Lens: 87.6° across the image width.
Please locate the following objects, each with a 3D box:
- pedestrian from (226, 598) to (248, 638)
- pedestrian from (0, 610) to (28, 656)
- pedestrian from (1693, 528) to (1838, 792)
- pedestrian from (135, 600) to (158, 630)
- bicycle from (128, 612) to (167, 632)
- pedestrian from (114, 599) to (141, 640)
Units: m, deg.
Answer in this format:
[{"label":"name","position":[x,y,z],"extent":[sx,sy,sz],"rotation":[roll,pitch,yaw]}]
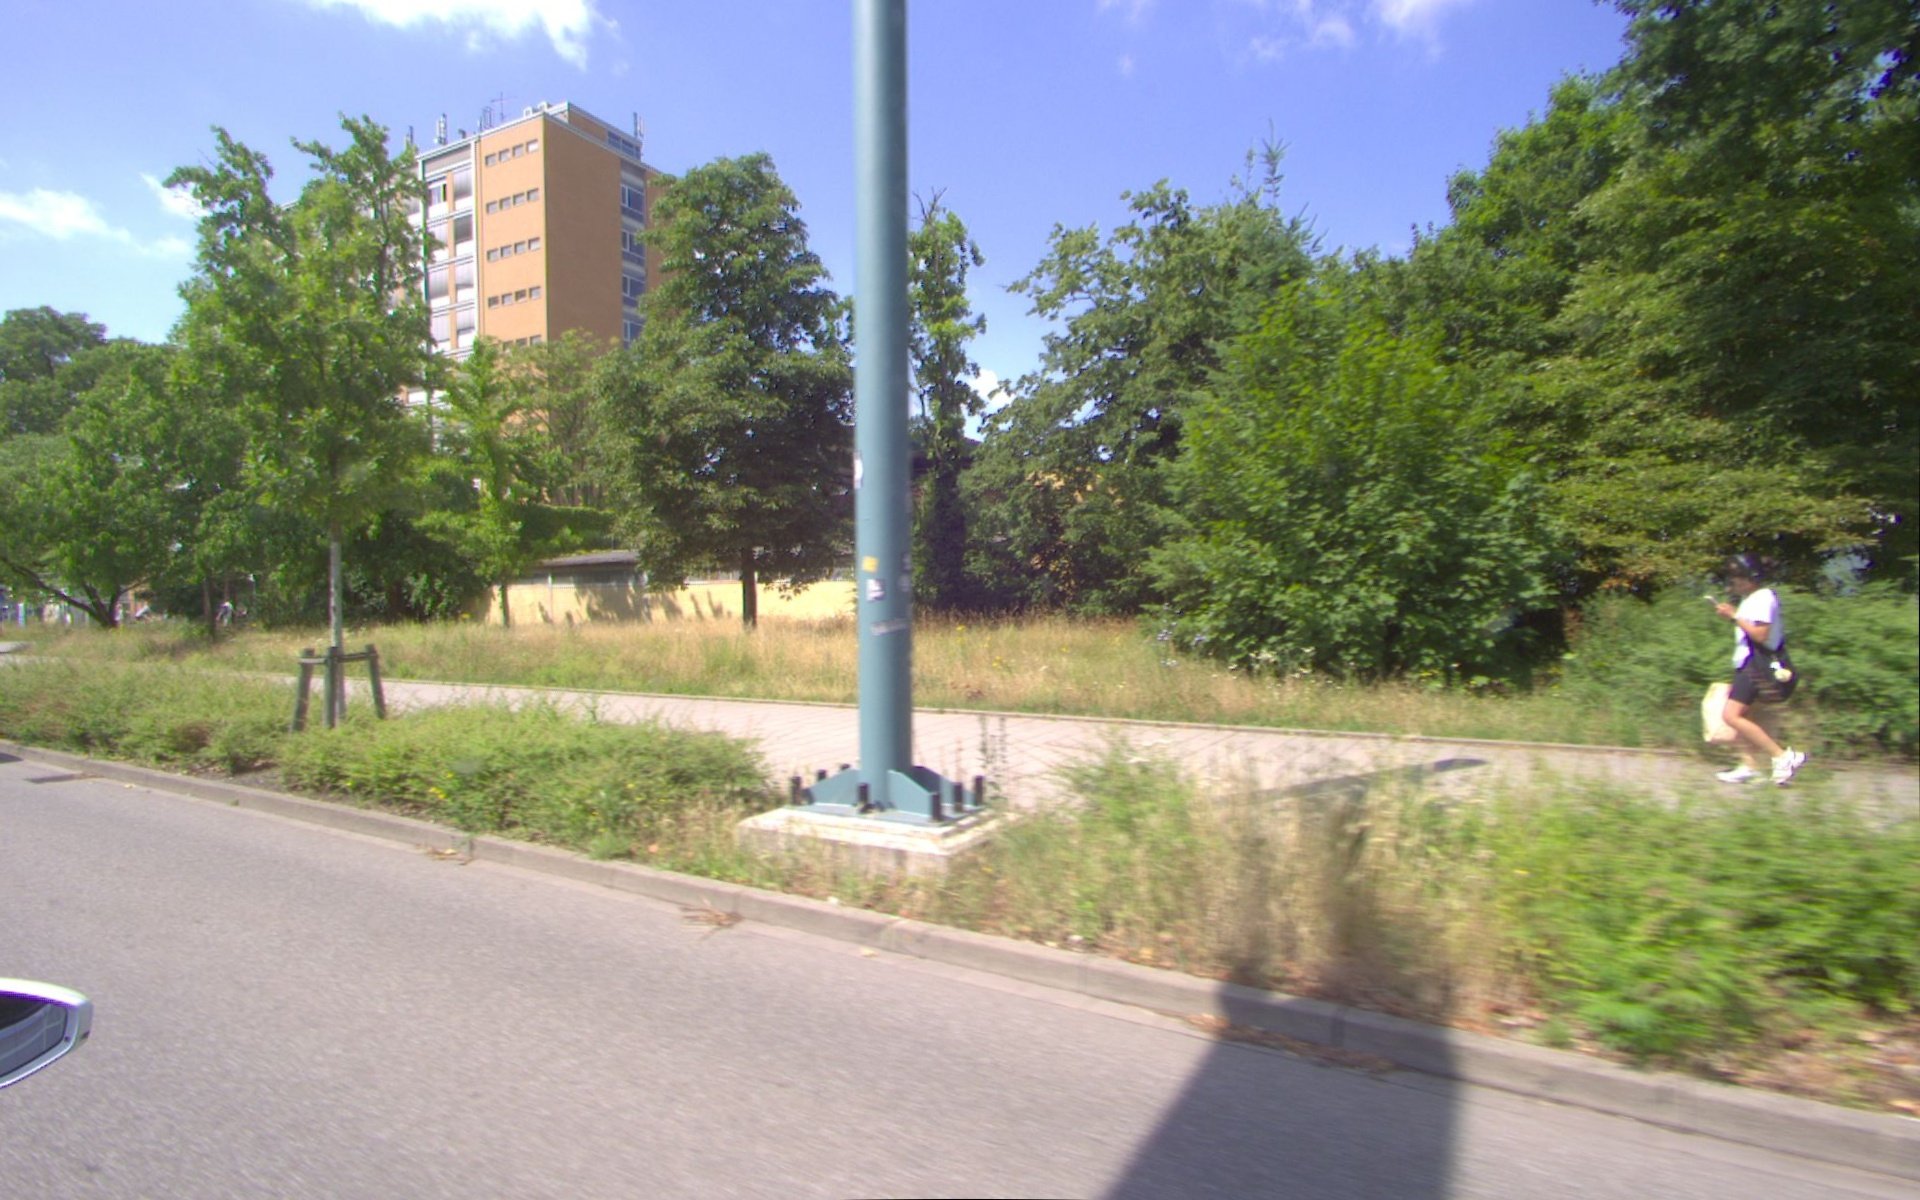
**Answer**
[{"label":"pedestrian","position":[-38.731,0.951,53.666],"extent":[0.835,2.085,0.737],"rotation":[0,1,-29]},{"label":"pedestrian","position":[-33.247,1.145,34.980],"extent":[0.823,1.559,0.843],"rotation":[0,1,33]},{"label":"pedestrian","position":[5.693,0.401,7.121],"extent":[0.737,1.744,0.720],"rotation":[0,0,34]},{"label":"pedestrian","position":[-41.532,0.770,51.117],"extent":[0.891,1.491,0.482],"rotation":[0,1,-38]},{"label":"bicycle","position":[-41.498,1.120,51.159],"extent":[1.557,0.968,0.482],"rotation":[0,0,-39]},{"label":"pedestrian","position":[-42.958,0.992,51.665],"extent":[0.832,2.085,0.740],"rotation":[0,1,17]}]
